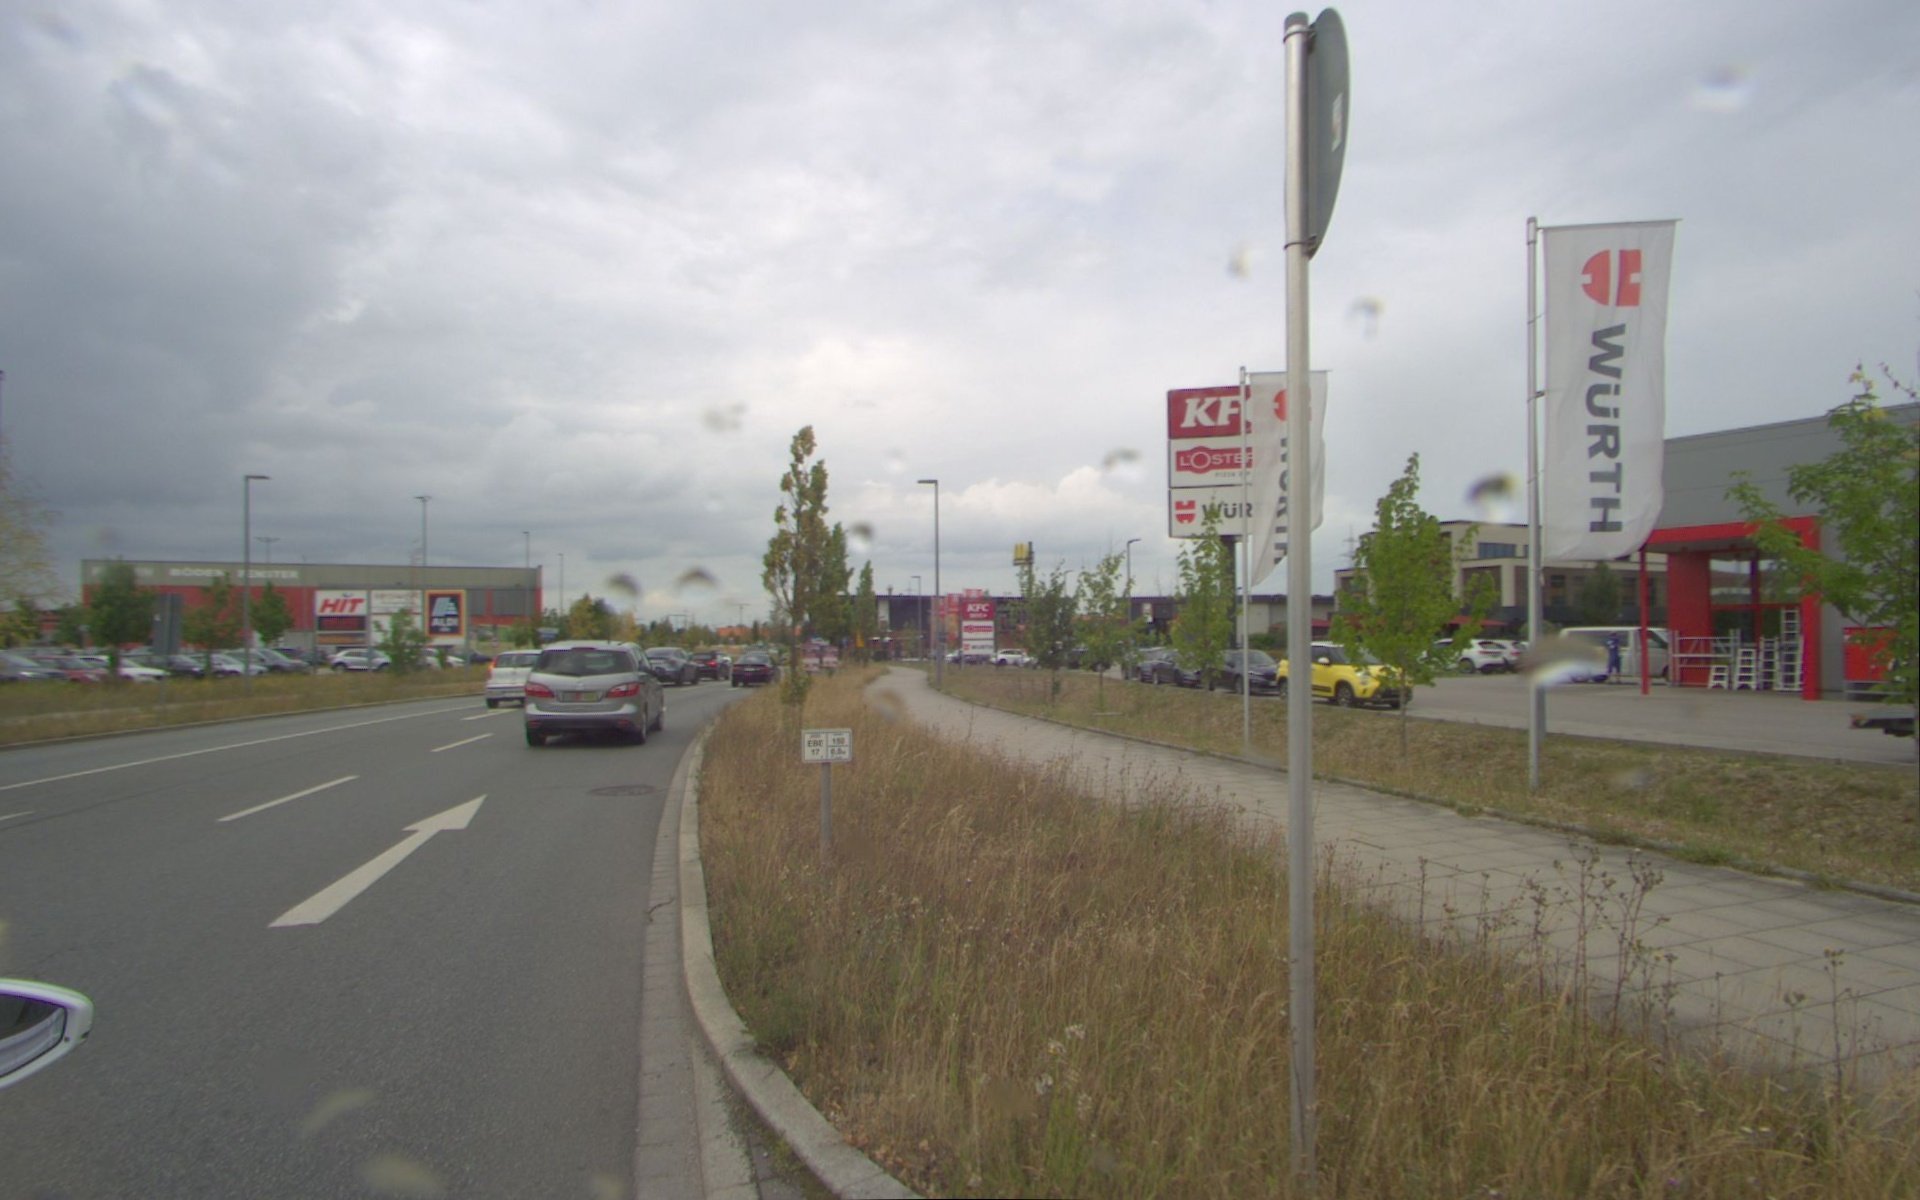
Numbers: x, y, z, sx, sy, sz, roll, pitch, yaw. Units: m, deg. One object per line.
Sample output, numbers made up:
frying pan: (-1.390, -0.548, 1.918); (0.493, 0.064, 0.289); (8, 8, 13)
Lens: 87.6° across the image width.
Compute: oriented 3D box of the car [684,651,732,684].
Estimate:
car: (-12.642, 3.367, 50.499); (1.873, 1.587, 4.337); (0, -3, -8)

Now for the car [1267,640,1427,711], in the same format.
car: (10.068, 1.955, 26.440); (1.721, 1.704, 4.296); (0, -3, -14)

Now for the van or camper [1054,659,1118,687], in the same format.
van or camper: (8.418, 4.846, 67.024); (3.923, 1.816, 1.823); (0, -3, -5)

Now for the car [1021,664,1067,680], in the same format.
car: (6.827, 5.889, 81.819); (3.534, 1.259, 1.631); (0, -3, -4)

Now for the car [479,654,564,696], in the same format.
car: (-16.053, 2.725, 36.858); (1.740, 1.401, 4.152); (-1, -3, -7)

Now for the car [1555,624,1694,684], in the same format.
car: (23.284, 1.900, 35.203); (1.654, 2.003, 3.656); (1, -3, -33)

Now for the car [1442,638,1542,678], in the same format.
car: (26.628, 2.891, 50.245); (1.973, 1.883, 3.979); (1, -3, -32)

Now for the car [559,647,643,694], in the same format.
car: (-12.047, 2.325, 33.879); (1.766, 1.468, 4.250); (0, -3, -7)

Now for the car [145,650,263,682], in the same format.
car: (-34.010, 2.950, 45.154); (3.743, 1.407, 1.914); (0, -2, -11)

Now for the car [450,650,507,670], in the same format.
car: (-36.538, 4.530, 76.083); (3.779, 1.445, 1.738); (1, -3, -22)

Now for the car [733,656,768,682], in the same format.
car: (-13.413, 4.397, 64.329); (1.872, 1.587, 4.338); (0, -3, -7)

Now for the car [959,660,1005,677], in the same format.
car: (1.710, 5.460, 79.745); (3.534, 1.259, 1.631); (0, -3, -4)

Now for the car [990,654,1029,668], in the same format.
car: (4.598, 5.709, 93.533); (3.534, 1.259, 1.631); (0, -3, -4)

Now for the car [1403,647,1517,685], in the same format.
car: (24.204, 3.204, 48.654); (1.734, 1.770, 4.718); (1, -4, -31)

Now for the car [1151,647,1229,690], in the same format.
car: (8.812, 2.631, 38.688); (1.683, 1.517, 4.002); (-1, -3, -6)

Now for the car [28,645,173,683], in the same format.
car: (-32.910, 2.444, 38.456); (3.743, 1.407, 1.914); (0, -2, -11)

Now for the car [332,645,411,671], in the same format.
car: (-35.654, 3.514, 60.756); (3.768, 1.445, 1.743); (-1, -3, -6)

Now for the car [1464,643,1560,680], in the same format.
car: (29.285, 3.242, 53.226); (1.973, 1.883, 3.979); (1, -3, -32)

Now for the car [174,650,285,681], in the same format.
car: (-34.399, 3.074, 47.264); (3.743, 1.407, 1.914); (0, -2, -11)

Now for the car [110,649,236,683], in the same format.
car: (-33.641, 2.814, 42.901); (3.743, 1.407, 1.914); (0, -2, -11)

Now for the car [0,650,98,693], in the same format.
car: (-32.054, 2.396, 33.977); (3.743, 1.407, 1.914); (0, -2, -11)

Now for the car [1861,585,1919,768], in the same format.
car: (14.038, 0.822, 9.871); (2.160, 2.351, 7.854); (0, -3, -12)

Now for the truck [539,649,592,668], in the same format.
truck: (-63.322, 9.346, 160.726); (7.564, 2.952, 2.357); (0, -2, -6)

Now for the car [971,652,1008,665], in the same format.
car: (2.943, 5.784, 99.918); (3.534, 1.259, 1.631); (0, -3, -4)

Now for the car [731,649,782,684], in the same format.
car: (-8.558, 2.778, 42.467); (1.725, 1.403, 4.303); (0, -3, -6)

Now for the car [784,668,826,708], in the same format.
car: (-7.148, 4.053, 46.520); (1.652, 1.697, 3.508); (-1, -3, -4)

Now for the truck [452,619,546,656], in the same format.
truck: (-38.827, 3.233, 84.752); (2.630, 2.982, 8.180); (-1, -3, 15)

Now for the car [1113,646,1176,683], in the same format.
car: (8.146, 2.845, 44.492); (1.683, 1.517, 4.002); (-1, -3, -6)

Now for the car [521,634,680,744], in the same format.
car: (-5.823, 1.417, 16.746); (1.787, 1.582, 4.401); (1, -3, -11)

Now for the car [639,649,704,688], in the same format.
car: (-12.120, 2.848, 42.300); (1.776, 1.526, 4.887); (0, -3, -6)

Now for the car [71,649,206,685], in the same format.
car: (-33.262, 2.680, 40.663); (3.743, 1.407, 1.914); (0, -2, -11)

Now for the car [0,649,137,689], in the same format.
car: (-32.556, 2.471, 36.268); (3.743, 1.407, 1.914); (0, -2, -11)

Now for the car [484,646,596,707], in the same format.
car: (-11.165, 1.998, 26.890); (1.766, 1.479, 3.817); (0, -3, -7)

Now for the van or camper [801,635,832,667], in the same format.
van or camper: (-12.002, 4.307, 84.110); (2.154, 2.572, 6.172); (0, -4, -4)

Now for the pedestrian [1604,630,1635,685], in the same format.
pedestrian: (22.333, 1.940, 33.903); (0.640, 1.830, 0.655); (1, -2, -32)

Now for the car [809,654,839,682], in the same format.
car: (-9.933, 4.981, 73.274); (1.961, 1.947, 4.852); (0, -4, -5)

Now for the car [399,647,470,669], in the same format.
car: (-36.109, 3.983, 68.874); (3.925, 1.460, 2.000); (-1, -3, -10)

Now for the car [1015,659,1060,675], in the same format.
car: (6.454, 5.602, 83.939); (3.534, 1.259, 1.631); (0, -3, -4)

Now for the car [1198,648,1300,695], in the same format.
car: (9.280, 2.295, 32.507); (1.710, 1.378, 4.002); (-1, -3, -7)
